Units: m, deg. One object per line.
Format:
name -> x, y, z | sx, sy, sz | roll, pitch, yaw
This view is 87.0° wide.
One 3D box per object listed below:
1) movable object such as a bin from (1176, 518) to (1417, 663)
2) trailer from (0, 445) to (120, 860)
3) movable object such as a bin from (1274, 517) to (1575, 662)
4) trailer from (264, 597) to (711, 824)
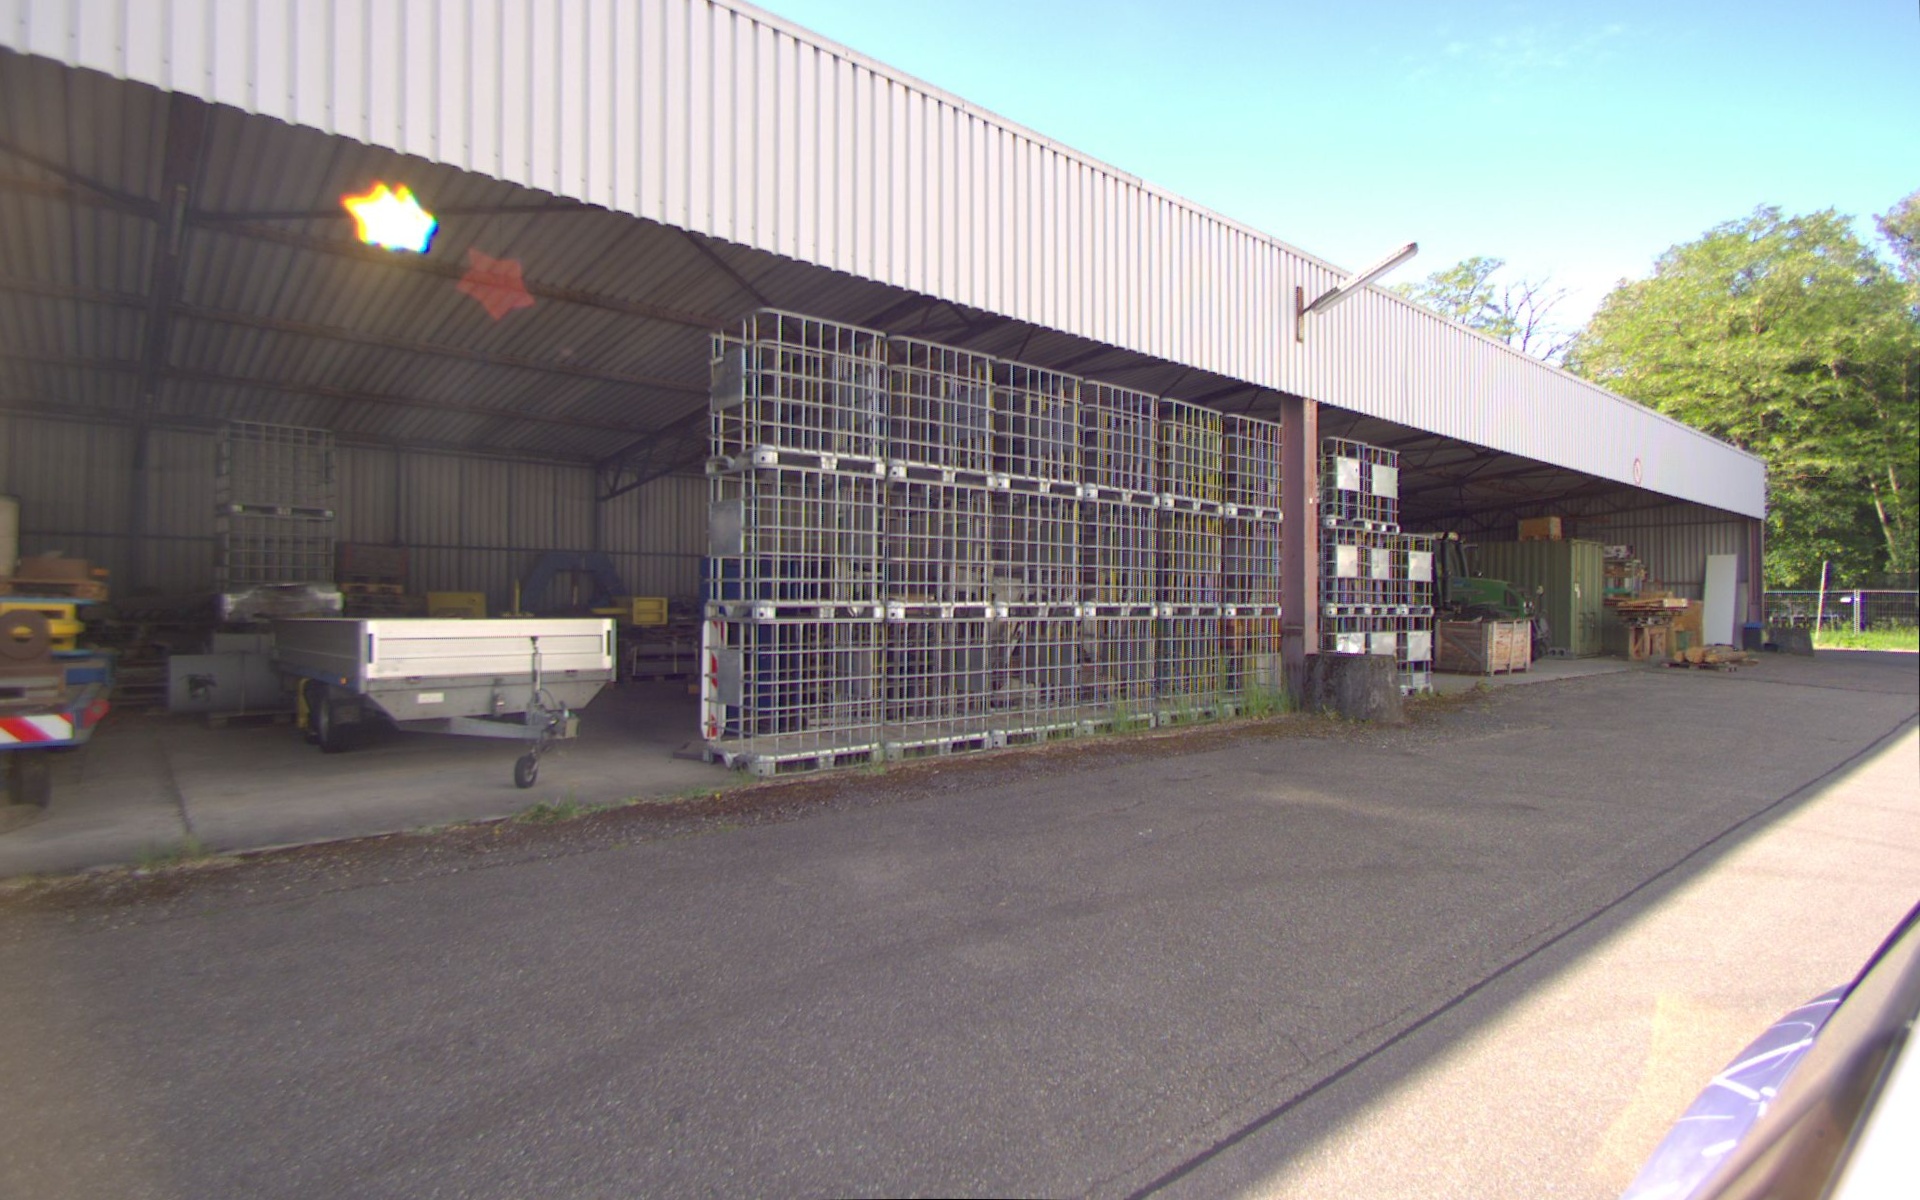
movable object such as a bin -> 7.417, -0.194, 22.652 | 2.453, 2.867, 4.535 | 1, 0, -40
trailer -> -6.575, 0.217, 6.193 | 2.124, 2.015, 4.433 | 0, 1, -39
movable object such as a bin -> 10.701, -0.228, 23.751 | 2.770, 2.962, 5.845 | 0, 0, -40
trailer -> -4.384, 0.637, 8.677 | 1.940, 1.200, 5.737 | 0, 1, -42
